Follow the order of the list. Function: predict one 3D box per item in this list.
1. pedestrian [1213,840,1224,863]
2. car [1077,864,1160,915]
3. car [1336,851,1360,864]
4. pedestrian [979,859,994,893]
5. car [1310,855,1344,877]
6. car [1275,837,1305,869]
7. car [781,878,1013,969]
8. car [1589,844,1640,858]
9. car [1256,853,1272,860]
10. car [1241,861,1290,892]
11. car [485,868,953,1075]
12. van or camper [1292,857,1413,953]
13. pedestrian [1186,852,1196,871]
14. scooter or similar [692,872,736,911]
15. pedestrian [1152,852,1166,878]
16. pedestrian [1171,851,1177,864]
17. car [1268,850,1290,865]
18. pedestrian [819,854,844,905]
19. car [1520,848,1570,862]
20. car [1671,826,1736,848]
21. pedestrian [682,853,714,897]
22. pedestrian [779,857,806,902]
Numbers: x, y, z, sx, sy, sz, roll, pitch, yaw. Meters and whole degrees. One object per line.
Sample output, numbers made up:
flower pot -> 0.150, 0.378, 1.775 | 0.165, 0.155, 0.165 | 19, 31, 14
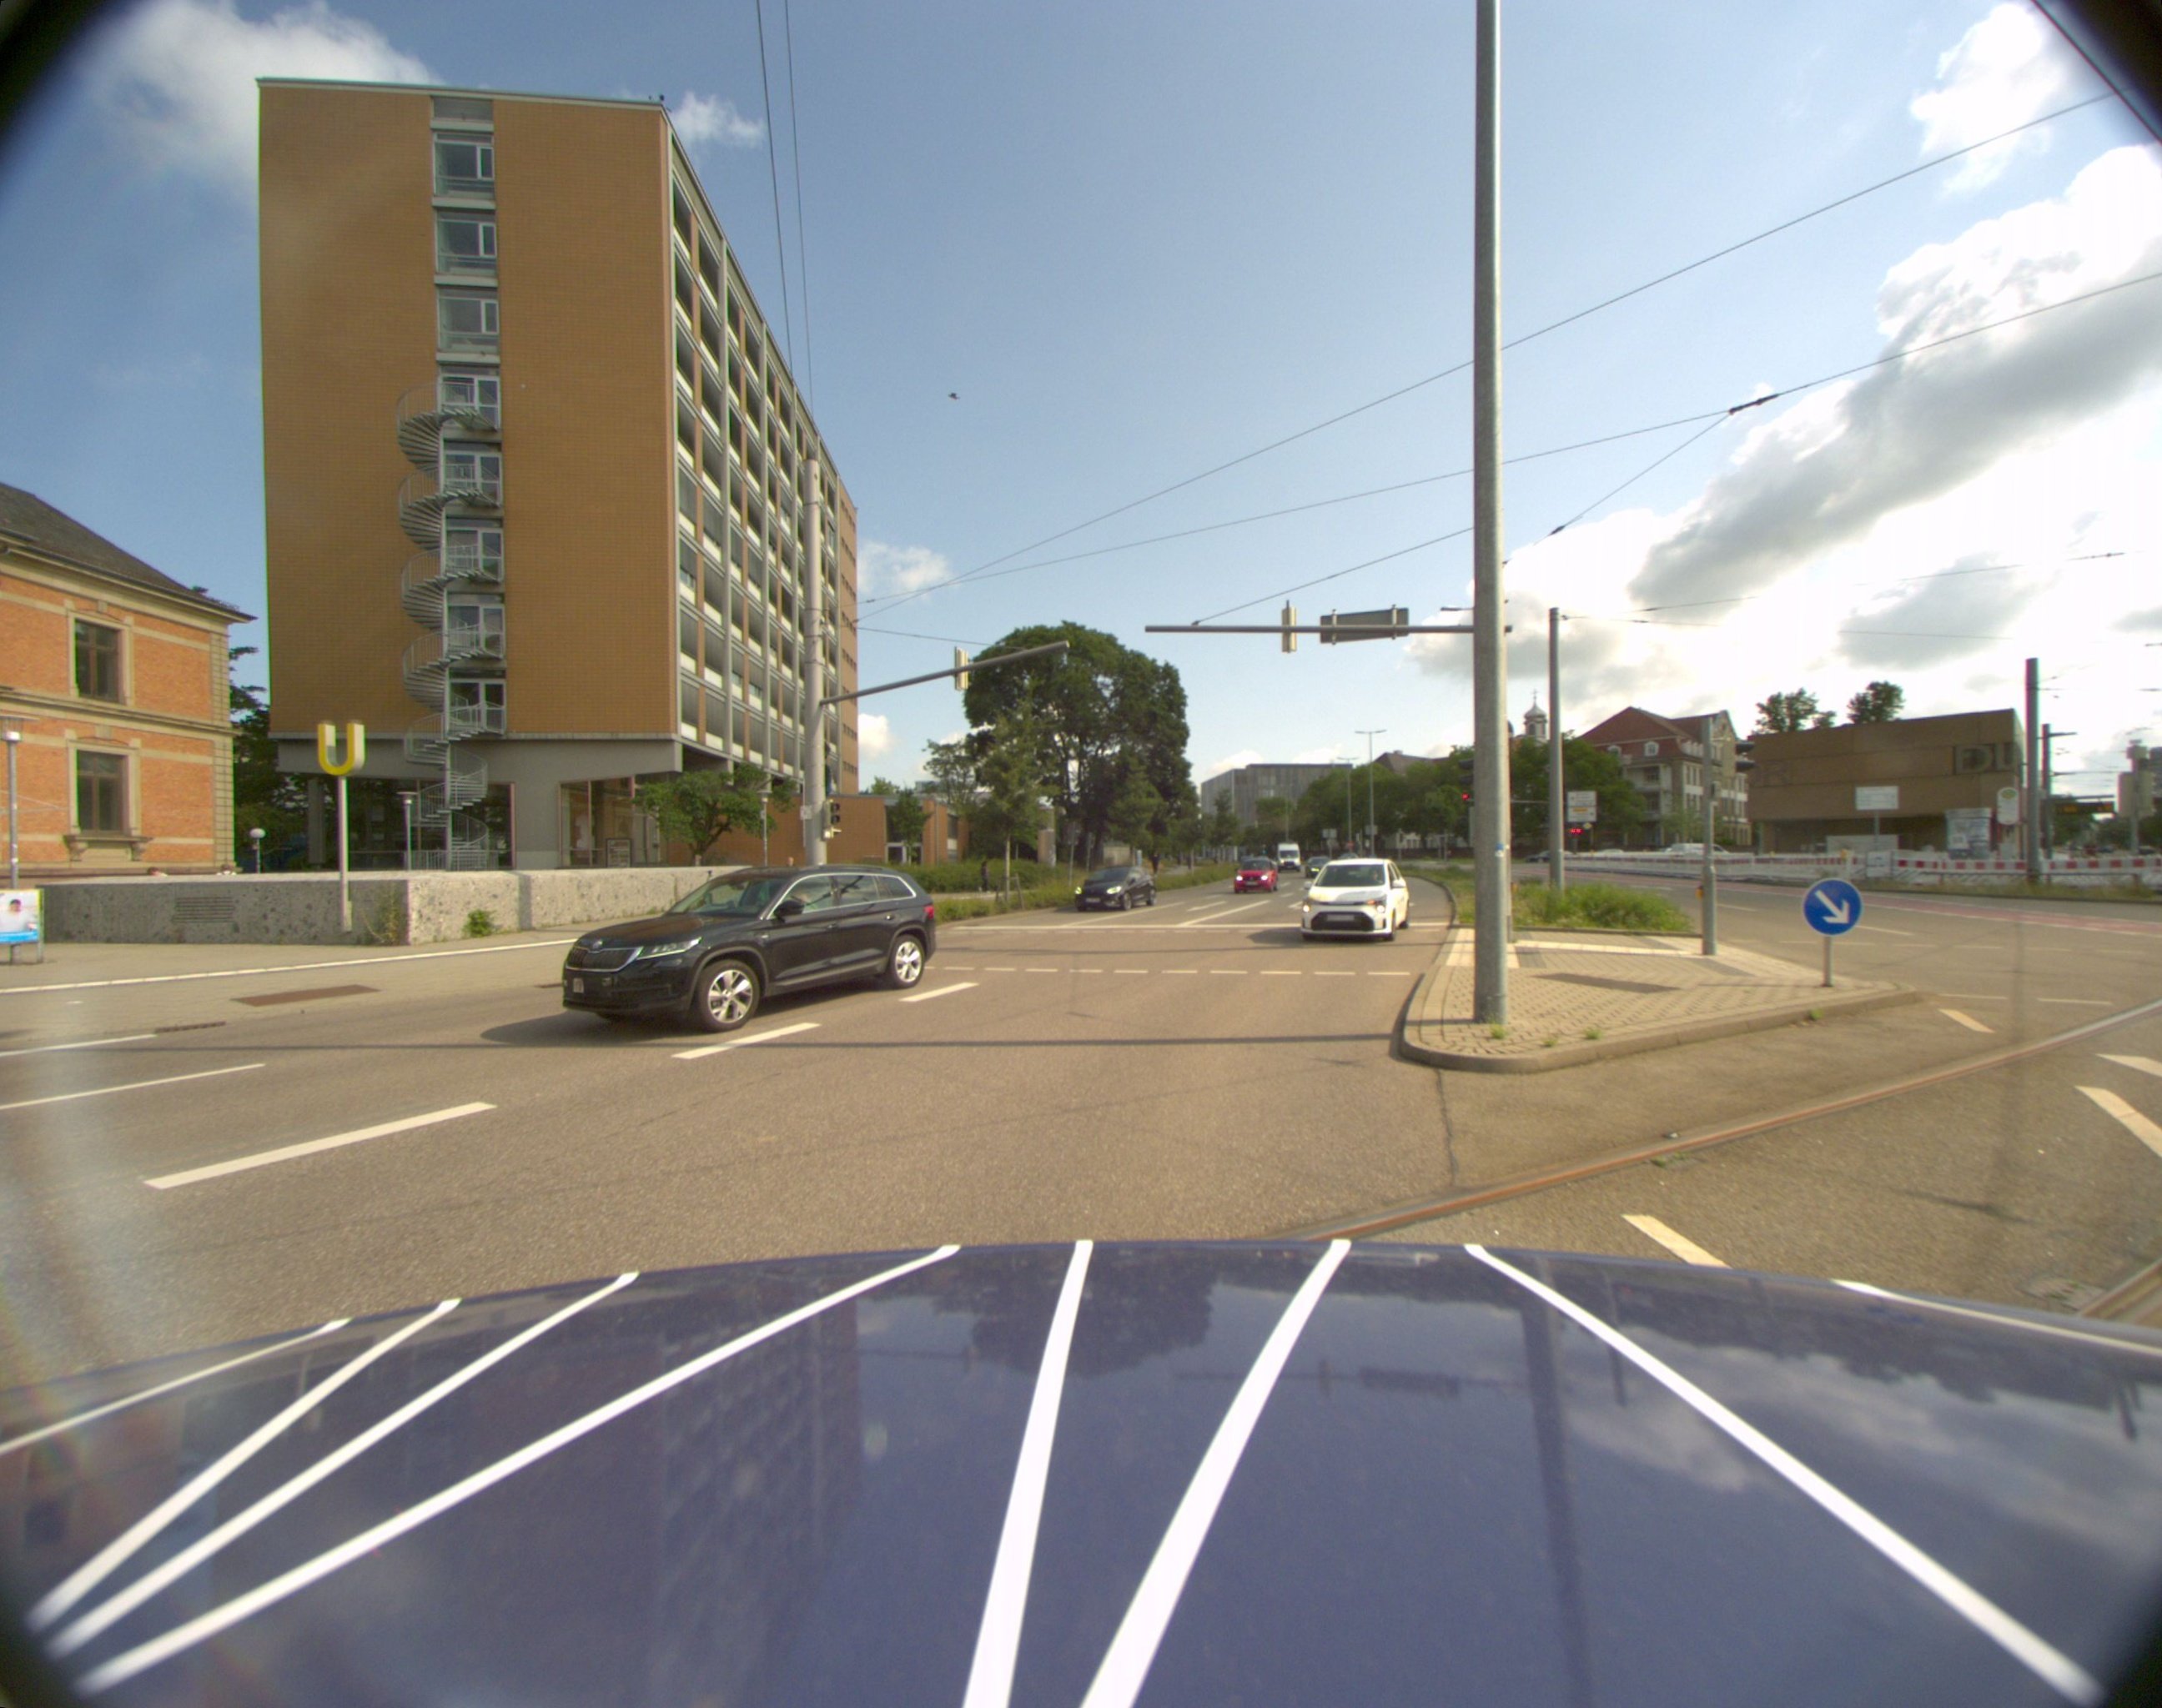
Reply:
pedestrian -> 12.536, -0.242, 69.221 | 0.986, 2.002, 1.130 | -1, 2, 9
car -> 1.361, 1.130, 25.897 | 1.710, 1.446, 4.005 | 1, 2, 20
car -> 37.659, 0.469, 107.235 | 1.998, 1.560, 4.782 | 1, 2, 3
pedestrian -> -4.348, 1.003, 35.003 | 0.581, 1.512, 0.479 | 0, 3, -21
car -> 17.311, 0.817, 53.302 | 1.995, 1.274, 4.550 | -1, 1, 21
car -> 19.686, -0.059, 71.541 | 2.481, 2.862, 6.157 | -1, 0, 17
car -> -3.462, 1.276, 15.252 | 1.995, 1.389, 4.517 | -3, -1, 28
car -> 55.822, -0.280, 79.558 | 4.128, 1.382, 1.759 | -1, 0, -4
car -> 38.811, 0.453, 161.195 | 1.958, 1.479, 5.099 | -1, 0, -1
car -> 8.516, 0.987, 34.900 | 1.606, 1.207, 3.014 | -1, 2, 26
car -> -3.744, 1.073, 8.938 | 1.995, 1.658, 4.692 | -3, -1, 26
van or camper -> 5.412, 0.904, 14.835 | 1.624, 1.467, 4.006 | -4, 0, 27
pedestrian -> 11.682, 0.809, 80.378 | 0.986, 2.002, 1.130 | -1, 2, 9
scooter or similar -> -11.787, 1.210, 24.417 | 1.186, 1.190, 0.403 | 1, 2, -1
pedestrian -> 5.793, 0.832, 56.537 | 0.758, 1.861, 0.646 | 4, 4, 25
pedestrian -> 14.673, 0.516, 119.789 | 0.986, 2.002, 1.131 | -1, 0, 9
car -> 24.108, 0.465, 92.588 | 1.997, 1.761, 4.143 | -1, 0, 7
pedestrian -> -10.232, 1.033, 31.149 | 0.809, 2.003, 0.722 | 0, 4, -31
car -> 48.275, 0.144, 79.084 | 4.128, 1.382, 1.759 | -1, 0, -4
car -> 61.486, -1.650, 75.053 | 5.073, 2.002, 1.998 | -1, 2, -6
pedestrian -> -14.440, 0.788, 28.654 | 0.940, 1.579, 0.762 | 1, 3, -34
pedestrian -> -10.422, 0.911, 27.471 | 0.773, 1.579, 0.764 | -1, 0, -10
